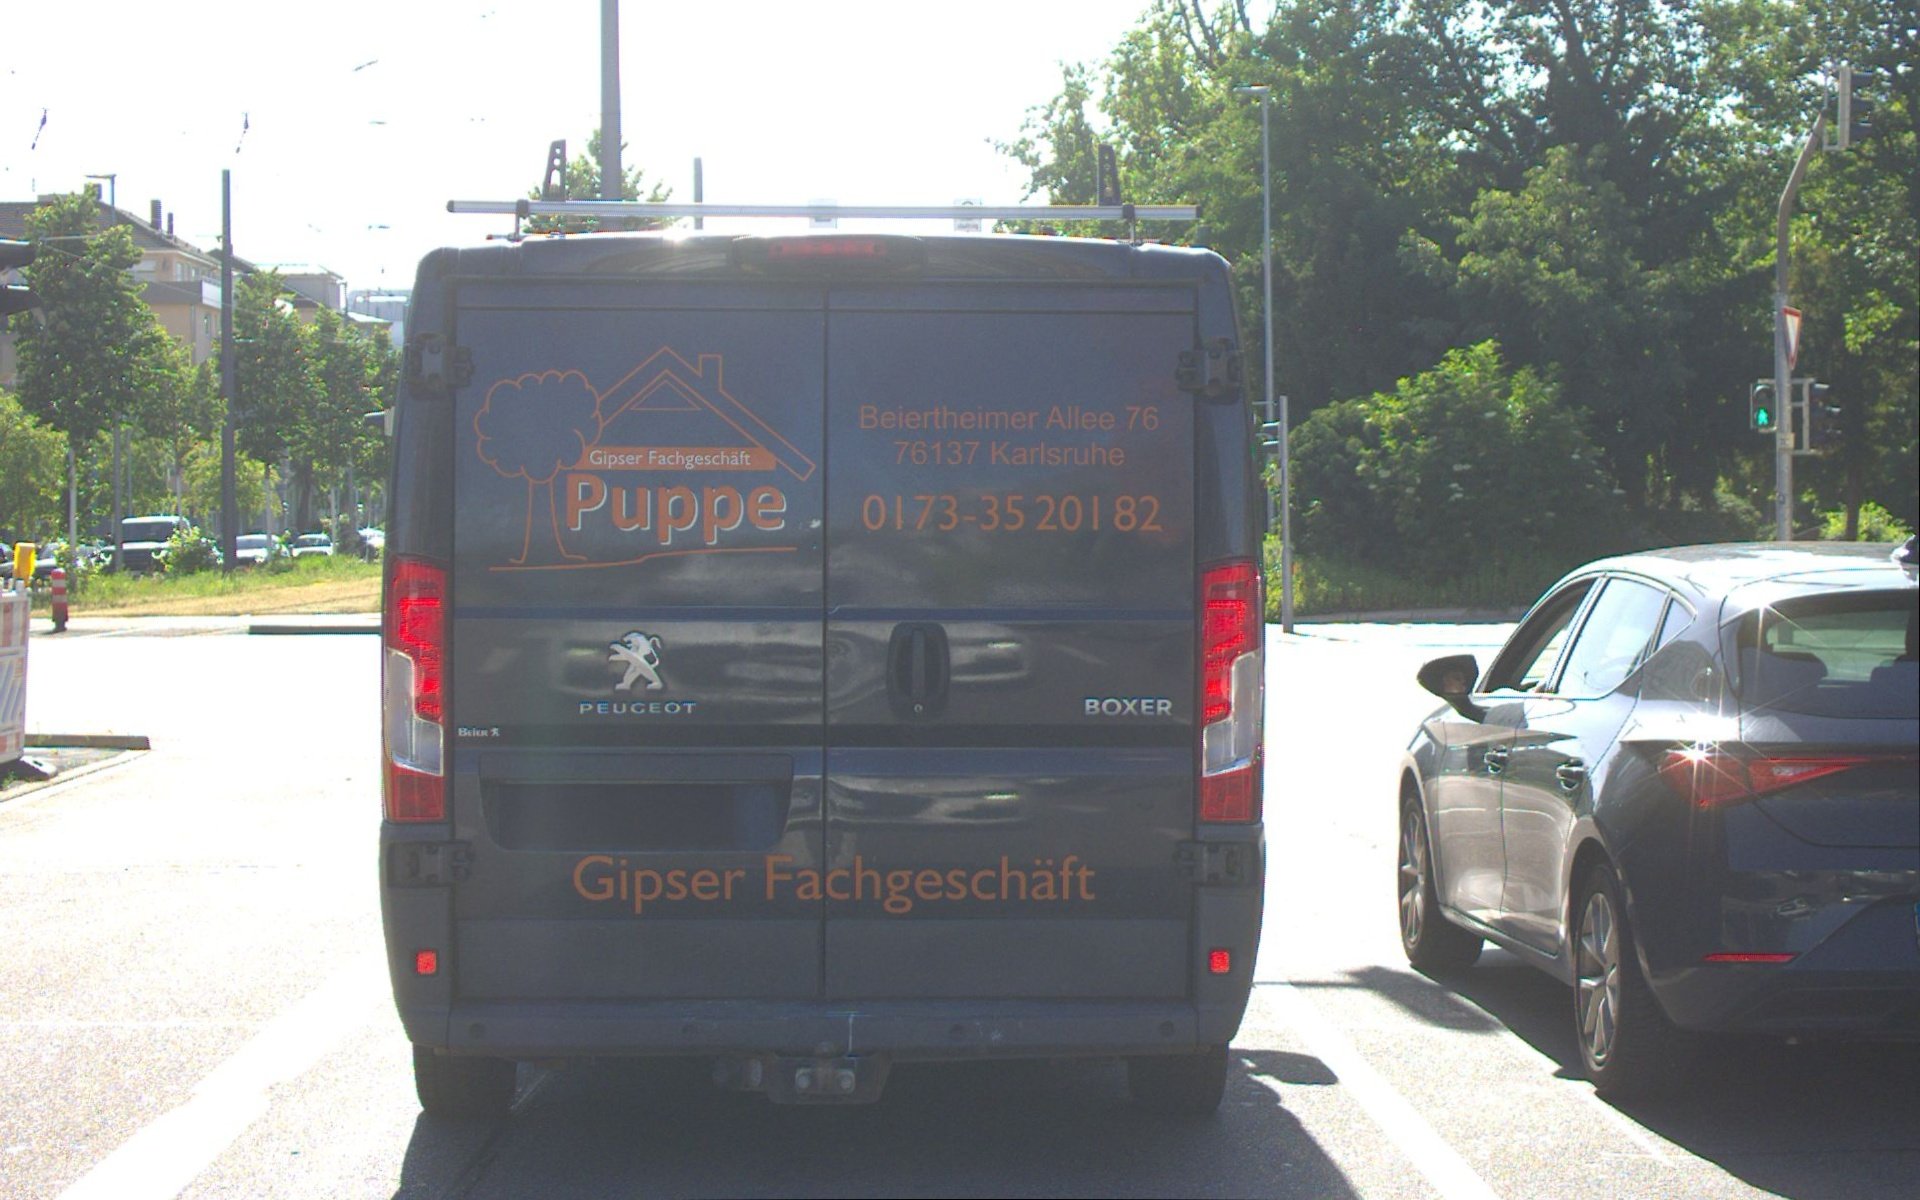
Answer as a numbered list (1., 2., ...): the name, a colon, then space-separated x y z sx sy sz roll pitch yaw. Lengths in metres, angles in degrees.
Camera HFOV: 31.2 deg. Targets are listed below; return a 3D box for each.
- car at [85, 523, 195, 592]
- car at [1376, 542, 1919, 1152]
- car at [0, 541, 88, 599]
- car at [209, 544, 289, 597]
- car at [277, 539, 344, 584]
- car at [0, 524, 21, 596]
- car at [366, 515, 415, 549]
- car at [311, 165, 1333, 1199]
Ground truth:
1. car: -20.496 -1.077 86.064 1.790 1.645 4.000 -1 1 0
2. car: 2.429 0.557 10.031 1.791 1.423 3.850 1 1 -2
3. car: -27.296 -0.904 102.026 1.790 1.645 4.000 -1 1 0
4. car: -23.320 -0.974 112.826 1.790 1.645 4.000 -1 1 0
5. car: -24.740 -1.467 131.062 1.790 1.645 4.000 -1 1 0
6. car: -22.832 -0.902 78.282 1.790 1.645 4.000 -1 1 0
7. car: -28.717 -3.432 173.378 1.790 1.645 4.000 0 1 0
8. car: -0.382 0.122 9.800 2.218 2.259 4.485 1 2 -2
